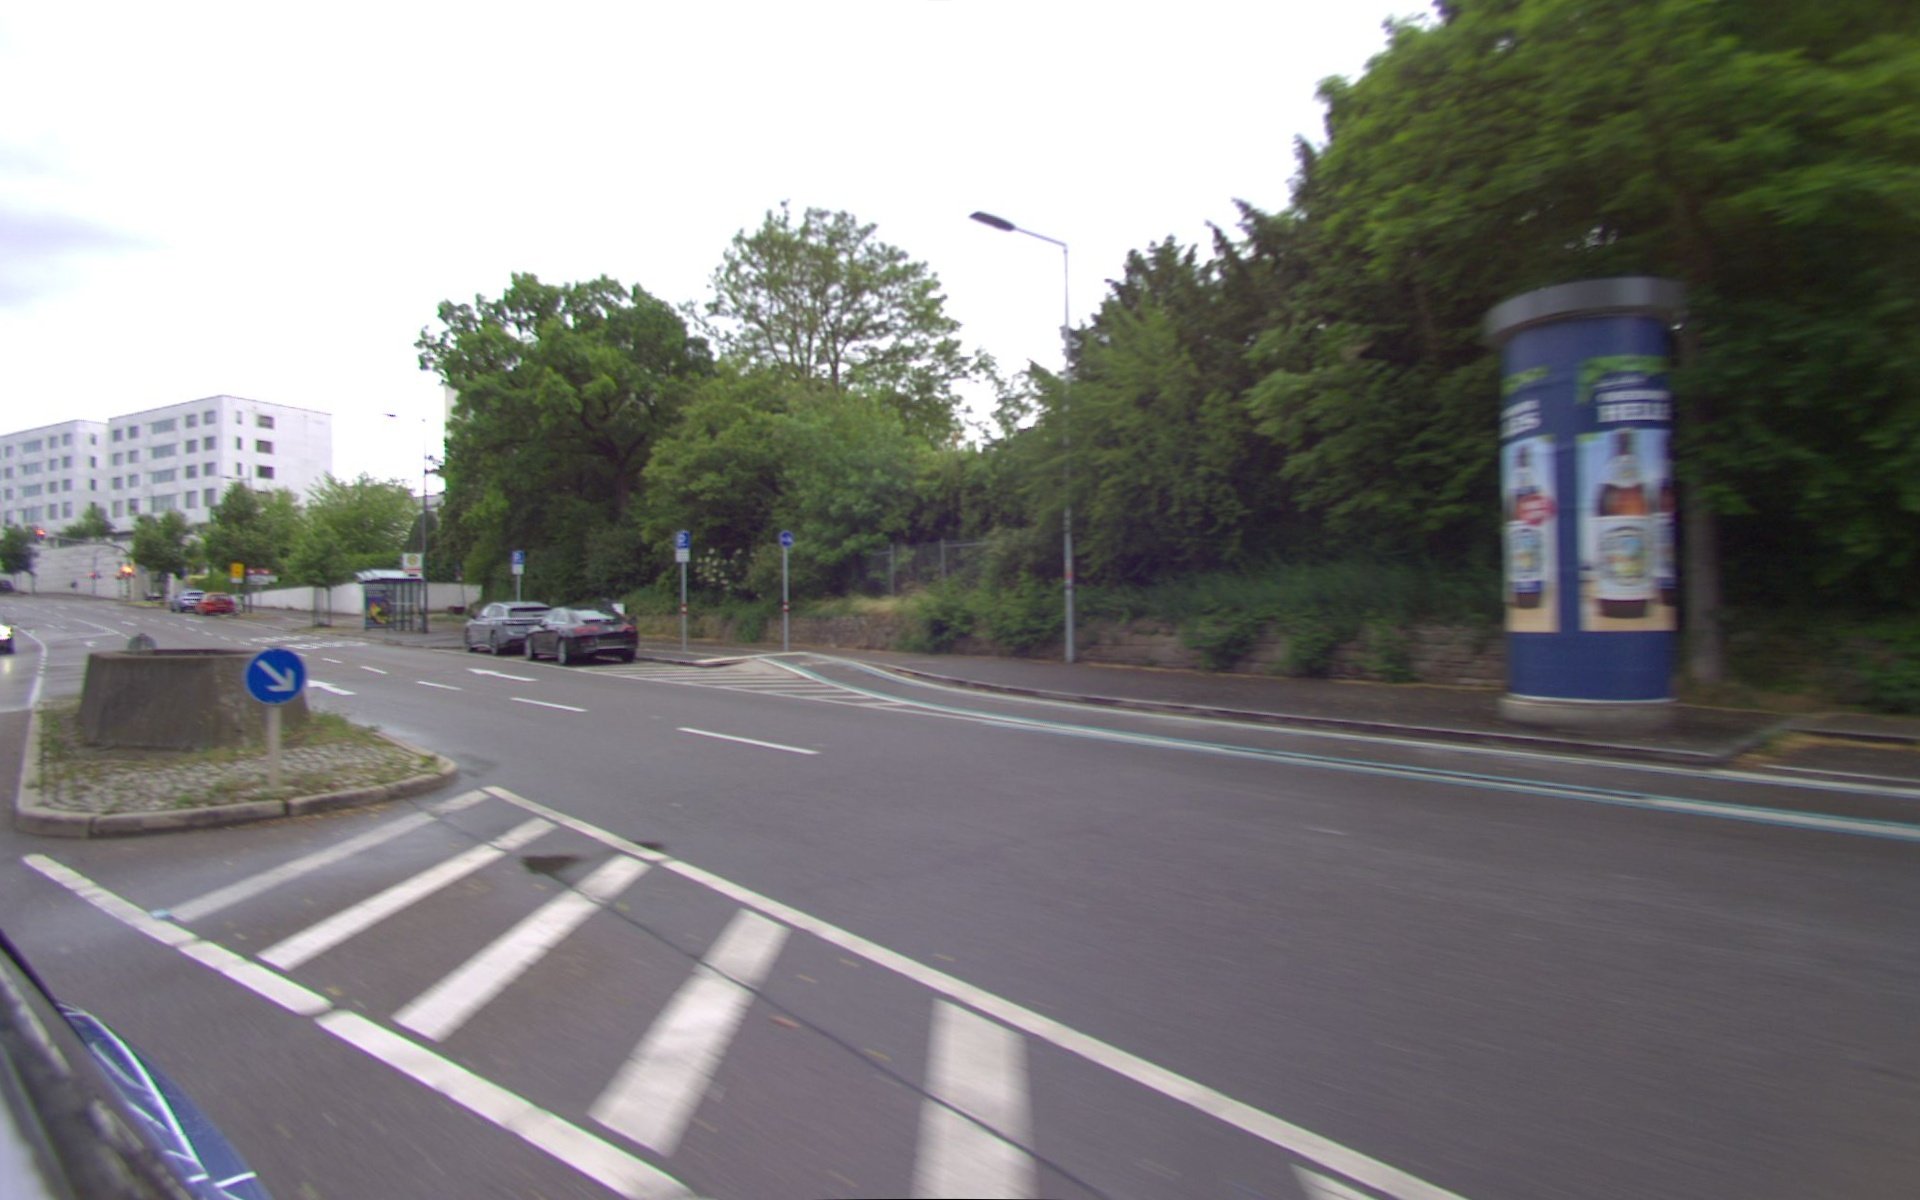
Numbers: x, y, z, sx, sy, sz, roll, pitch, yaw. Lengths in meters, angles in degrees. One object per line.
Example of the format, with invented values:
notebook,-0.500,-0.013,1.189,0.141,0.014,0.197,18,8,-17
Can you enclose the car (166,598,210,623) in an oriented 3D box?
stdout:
car,-57.685,0.770,75.545,4.883,1.665,1.745,2,3,42

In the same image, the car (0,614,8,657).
car,-38.456,1.394,39.403,4.001,1.605,1.805,0,2,44

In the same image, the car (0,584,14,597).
car,-108.888,-1.094,114.668,2.680,1.470,1.667,1,0,25

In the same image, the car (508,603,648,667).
car,-9.936,0.824,26.090,1.882,1.425,4.791,-3,1,-40

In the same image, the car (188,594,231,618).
car,-52.479,0.409,70.748,4.217,1.598,1.647,2,1,42

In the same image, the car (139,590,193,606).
car,-88.650,-0.220,113.001,1.988,1.664,4.311,1,0,24

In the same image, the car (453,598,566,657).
car,-13.797,0.770,30.856,1.818,1.601,4.937,-3,1,-40
